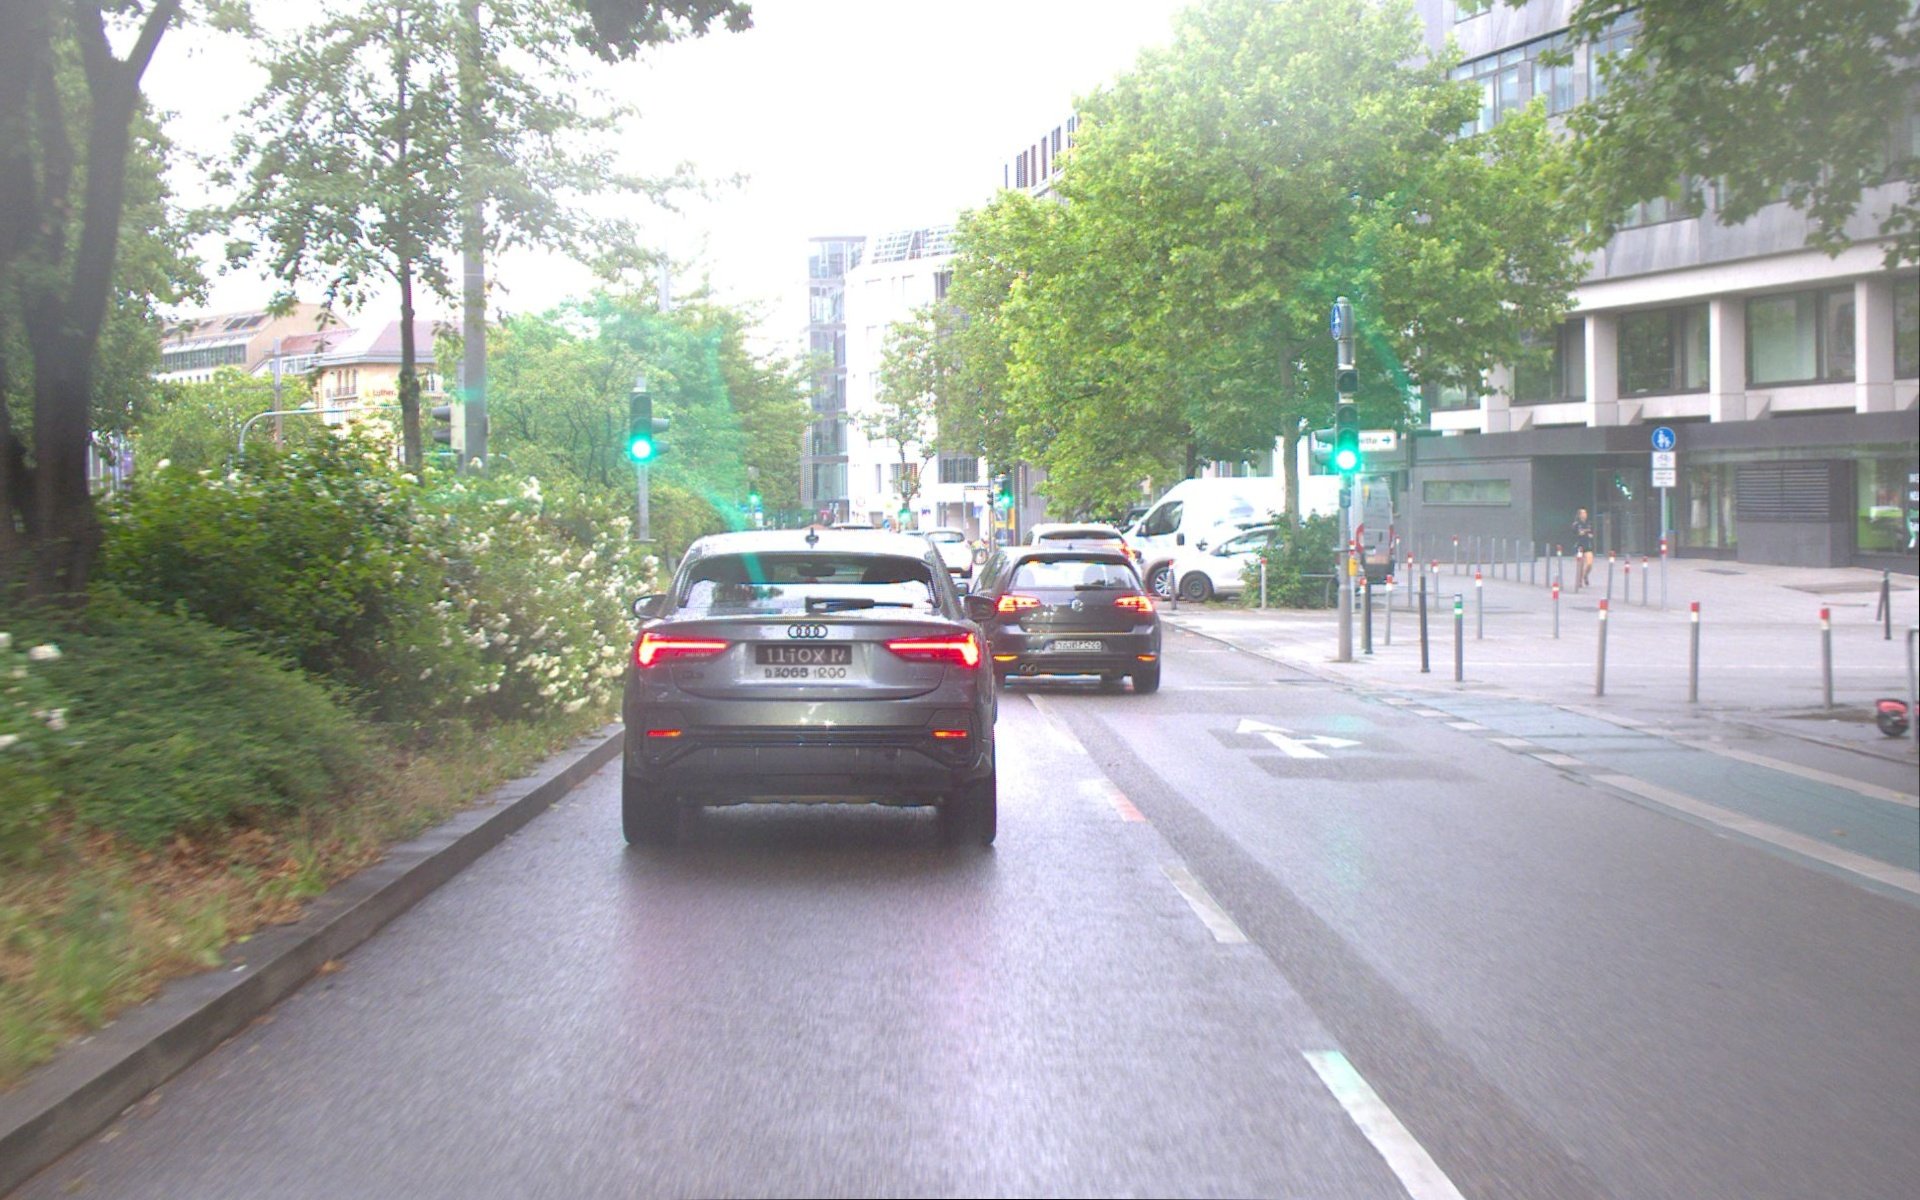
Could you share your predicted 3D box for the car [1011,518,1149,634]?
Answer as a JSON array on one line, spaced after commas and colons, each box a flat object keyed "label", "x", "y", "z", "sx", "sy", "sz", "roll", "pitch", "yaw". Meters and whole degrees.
[{"label": "car", "x": 1.749, "y": -0.385, "z": 51.233, "sx": 1.849, "sy": 1.663, "sz": 4.039, "roll": 0, "pitch": 1, "yaw": -1}]

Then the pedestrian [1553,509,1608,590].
[{"label": "pedestrian", "x": 13.058, "y": -1.065, "z": 72.360, "sx": 0.805, "sy": 1.690, "sz": 1.188, "roll": 0, "pitch": 1, "yaw": -7}]

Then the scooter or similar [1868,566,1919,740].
[{"label": "scooter or similar", "x": 7.379, "y": 0.380, "z": 25.319, "sx": 1.290, "sy": 1.255, "sz": 0.489, "roll": -1, "pitch": 3, "yaw": 11}]

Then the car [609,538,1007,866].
[{"label": "car", "x": -0.771, "y": 0.442, "z": 18.008, "sx": 1.849, "sy": 1.518, "sz": 4.039, "roll": 0, "pitch": 1, "yaw": -2}]

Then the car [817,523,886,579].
[{"label": "car", "x": -2.974, "y": -1.362, "z": 94.752, "sx": 1.849, "sy": 1.518, "sz": 4.039, "roll": 0, "pitch": 1, "yaw": -1}]

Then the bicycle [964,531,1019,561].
[{"label": "bicycle", "x": 1.377, "y": -2.363, "z": 150.450, "sx": 2.337, "sy": 1.308, "sz": 0.710, "roll": 0, "pitch": 1, "yaw": -8}]

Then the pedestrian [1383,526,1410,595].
[{"label": "pedestrian", "x": 11.460, "y": -1.043, "z": 90.301, "sx": 0.553, "sy": 1.799, "sz": 0.762, "roll": 1, "pitch": 0, "yaw": -4}]

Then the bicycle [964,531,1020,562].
[{"label": "bicycle", "x": 1.381, "y": -2.306, "z": 148.402, "sx": 2.337, "sy": 1.308, "sz": 0.710, "roll": 0, "pitch": 1, "yaw": -8}]

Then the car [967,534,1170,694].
[{"label": "car", "x": 1.037, "y": 0.096, "z": 34.741, "sx": 1.849, "sy": 1.518, "sz": 4.039, "roll": 0, "pitch": 1, "yaw": -1}]

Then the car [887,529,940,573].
[{"label": "car", "x": -1.651, "y": -1.746, "z": 122.069, "sx": 1.849, "sy": 1.518, "sz": 4.039, "roll": 0, "pitch": 1, "yaw": -1}]

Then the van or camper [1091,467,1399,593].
[{"label": "van or camper", "x": 5.948, "y": -1.441, "z": 71.952, "sx": 6.074, "sy": 2.549, "sz": 2.102, "roll": 0, "pitch": 1, "yaw": 26}]

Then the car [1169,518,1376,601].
[{"label": "car", "x": 6.000, "y": -0.796, "z": 65.969, "sx": 3.652, "sy": 1.542, "sz": 1.713, "roll": 1, "pitch": 1, "yaw": 18}]

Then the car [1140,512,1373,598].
[{"label": "car", "x": 5.920, "y": -0.912, "z": 68.704, "sx": 4.262, "sy": 1.662, "sz": 1.816, "roll": 1, "pitch": 1, "yaw": 25}]

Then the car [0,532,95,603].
[{"label": "car", "x": -20.178, "y": -0.711, "z": 74.772, "sx": 1.768, "sy": 1.430, "sz": 4.673, "roll": -3, "pitch": 2, "yaw": -4}]

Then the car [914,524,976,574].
[{"label": "car", "x": -0.483, "y": -1.596, "z": 106.745, "sx": 1.849, "sy": 1.518, "sz": 4.039, "roll": 0, "pitch": 1, "yaw": -1}]

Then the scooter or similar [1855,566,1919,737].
[{"label": "scooter or similar", "x": 7.444, "y": 0.376, "z": 25.931, "sx": 1.290, "sy": 1.255, "sz": 0.489, "roll": -1, "pitch": 3, "yaw": 11}]

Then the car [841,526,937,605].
[{"label": "car", "x": -1.402, "y": -0.697, "z": 68.071, "sx": 1.849, "sy": 1.518, "sz": 4.039, "roll": 0, "pitch": 1, "yaw": -1}]
